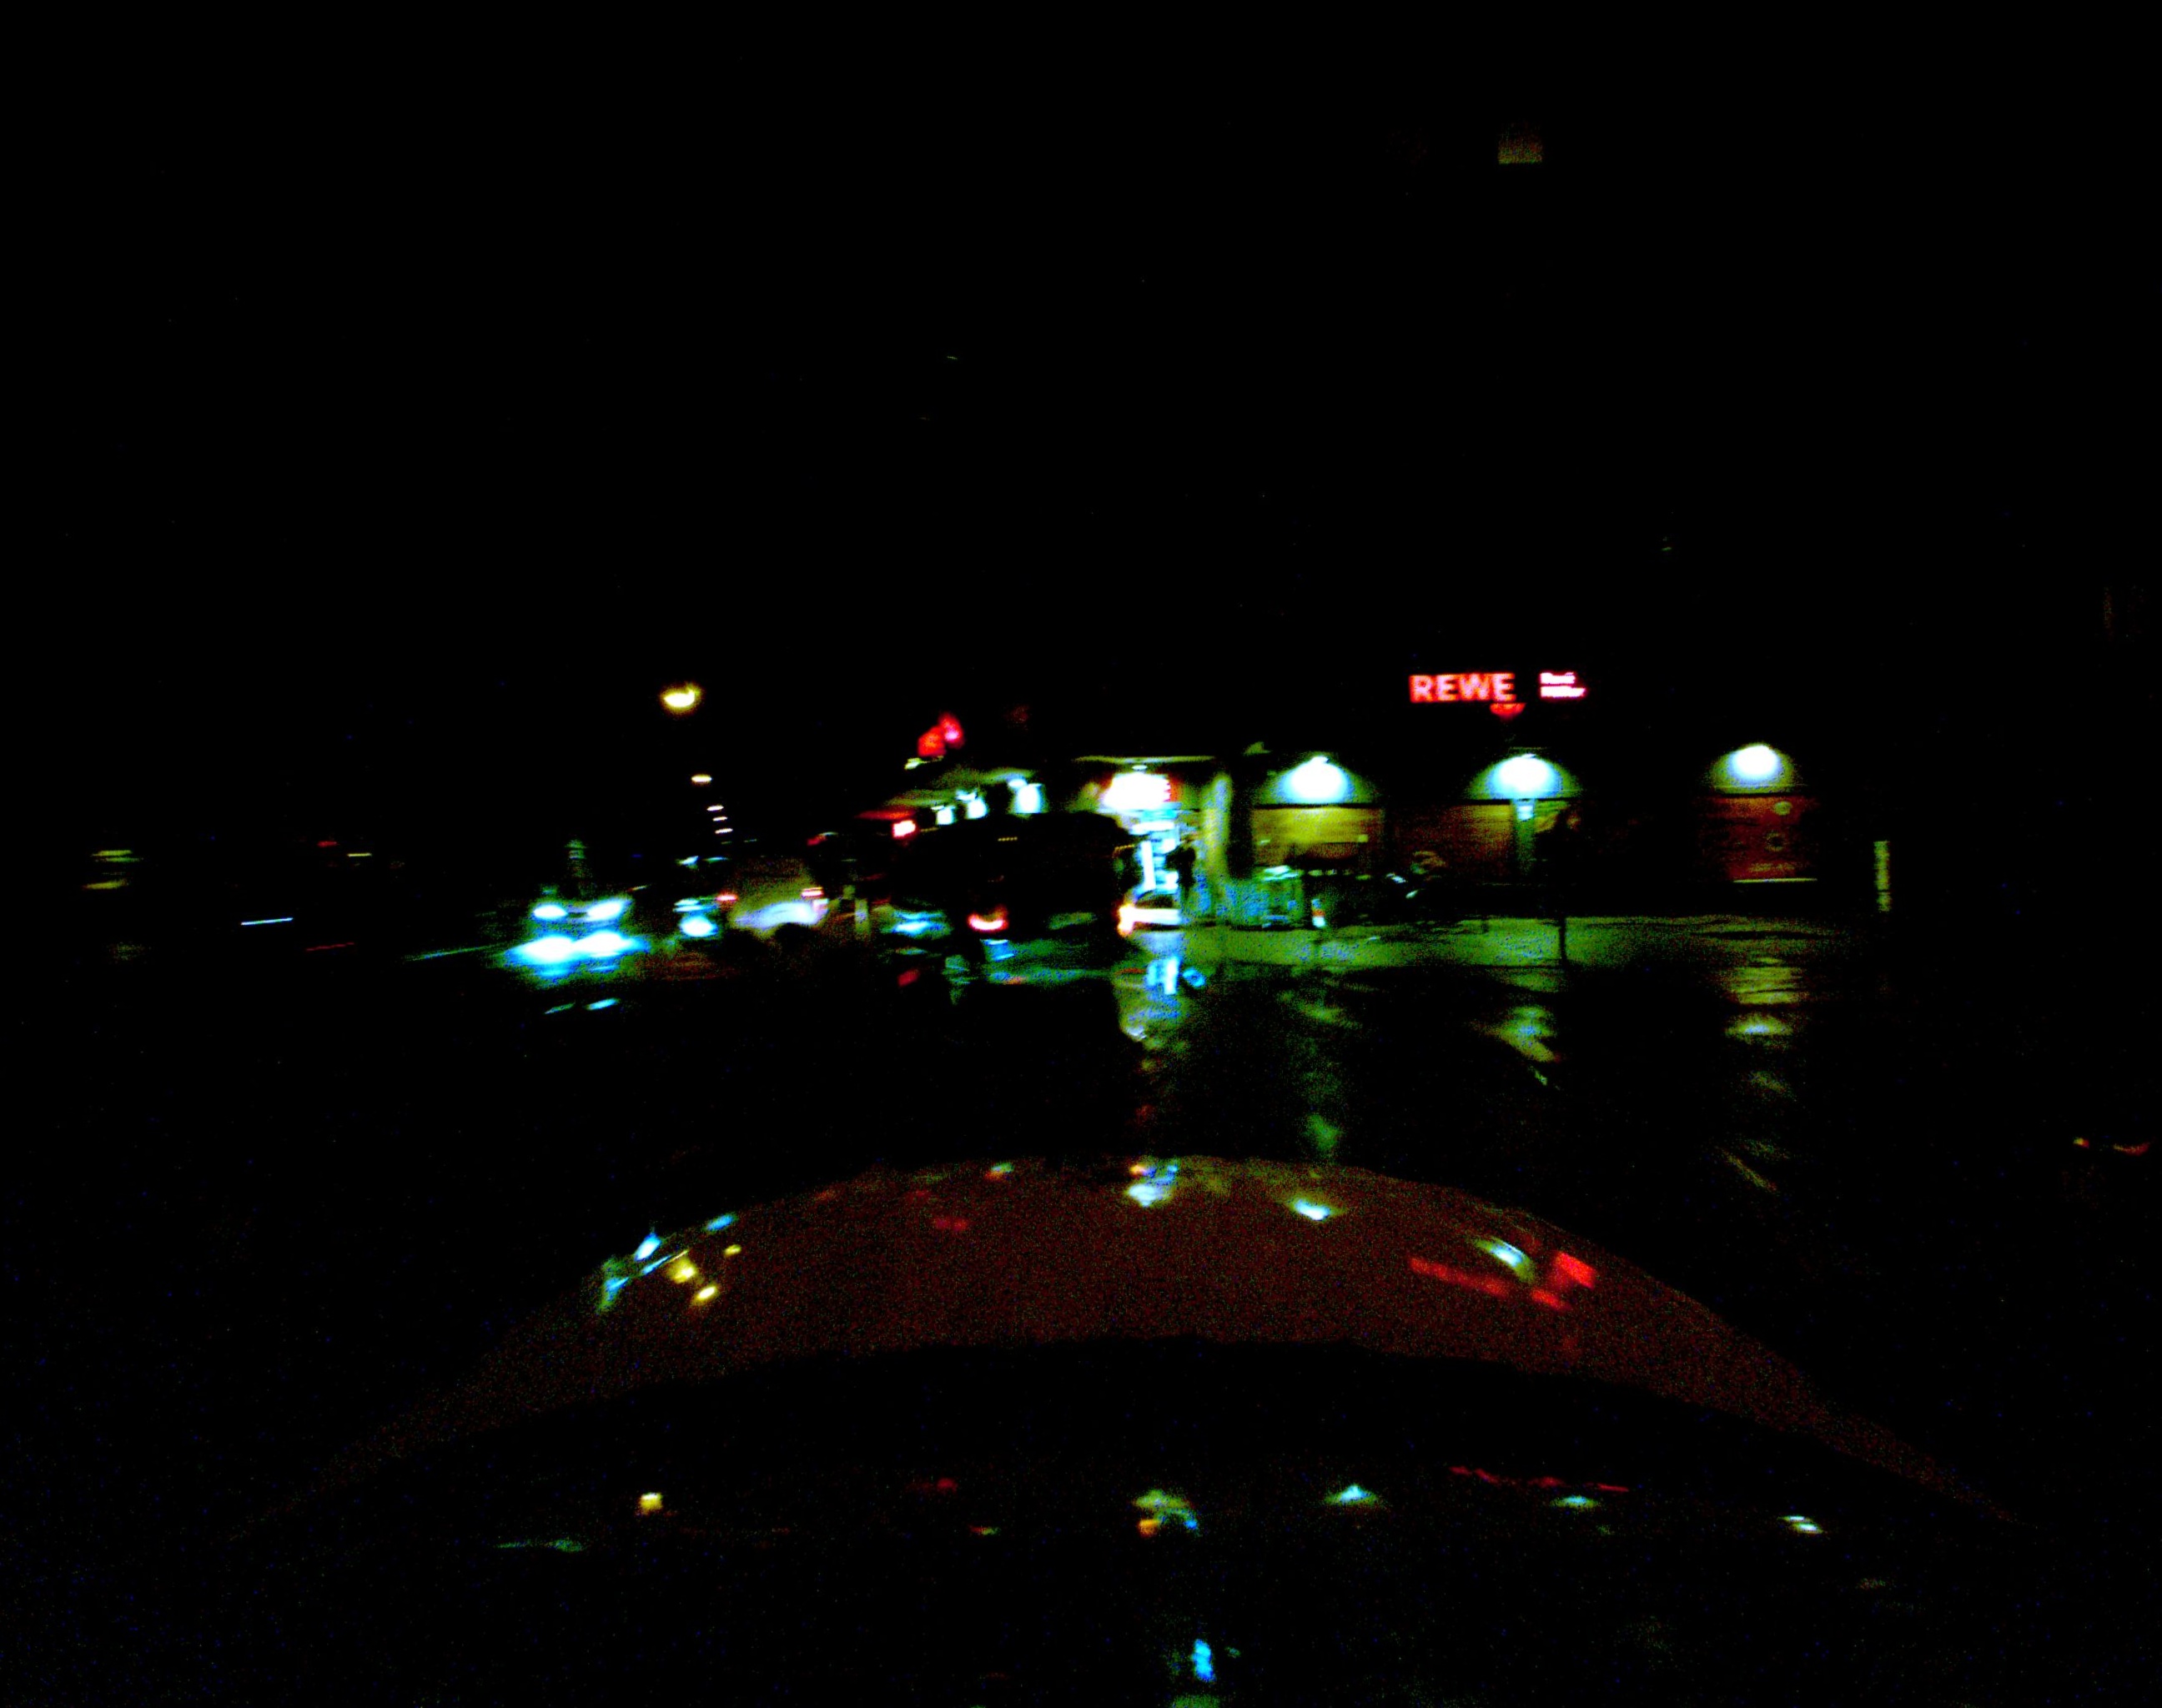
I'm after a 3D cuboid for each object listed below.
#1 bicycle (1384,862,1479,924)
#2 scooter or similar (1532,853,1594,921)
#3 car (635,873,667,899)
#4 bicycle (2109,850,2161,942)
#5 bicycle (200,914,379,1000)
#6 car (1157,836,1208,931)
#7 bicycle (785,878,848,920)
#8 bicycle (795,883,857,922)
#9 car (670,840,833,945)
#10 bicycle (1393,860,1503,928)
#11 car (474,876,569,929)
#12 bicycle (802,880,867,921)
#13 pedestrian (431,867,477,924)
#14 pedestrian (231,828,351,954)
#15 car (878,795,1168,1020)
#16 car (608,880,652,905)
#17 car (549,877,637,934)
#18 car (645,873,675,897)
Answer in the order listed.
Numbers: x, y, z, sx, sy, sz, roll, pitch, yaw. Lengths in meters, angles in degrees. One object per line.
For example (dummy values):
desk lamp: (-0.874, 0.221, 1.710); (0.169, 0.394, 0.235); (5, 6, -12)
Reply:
bicycle: (6.745, 0.747, 15.711); (1.634, 1.174, 0.384); (0, -3, 5)
scooter or similar: (9.113, 0.597, 15.427); (0.522, 1.229, 1.315); (0, 0, 7)
car: (-34.130, 2.507, 64.733); (2.003, 2.014, 3.967); (1, -2, -24)
bicycle: (14.628, 0.562, 11.030); (1.969, 1.177, 0.448); (1, -2, -27)
bicycle: (-11.996, 1.519, 12.412); (0.705, 1.059, 1.813); (-2, 0, 30)
car: (2.022, 0.576, 16.347); (0.871, 1.841, 0.964); (-1, 0, 0)
bicycle: (-8.347, 1.401, 25.693); (1.771, 1.124, 0.432); (-5, 1, -26)
bicycle: (-7.893, 1.488, 25.213); (1.771, 1.079, 0.432); (-1, 0, -26)
car: (-7.227, 0.744, 17.544); (2.139, 1.922, 4.772); (0, -1, -37)
bicycle: (6.630, 0.722, 14.761); (1.772, 1.174, 0.385); (-1, -1, 4)
car: (-17.327, 1.461, 25.395); (1.593, 1.464, 3.993); (2, -2, -23)
bicycle: (-7.367, 1.383, 24.355); (1.792, 1.125, 0.432); (-2, 0, -26)
pedestrian: (-19.836, 1.308, 25.789); (0.806, 1.766, 1.009); (1, -2, -17)
pedestrian: (-12.019, 0.535, 12.417); (0.705, 1.811, 1.132); (-2, 0, 30)
car: (-1.000, 0.502, 9.745); (2.131, 1.991, 4.566); (-1, -1, -22)
car: (-27.599, 2.320, 49.895); (2.003, 1.449, 3.967); (1, -2, -24)
car: (-14.397, 1.456, 24.202); (1.569, 1.427, 4.039); (-2, 0, -22)
car: (-36.186, 2.640, 70.053); (2.002, 2.014, 3.968); (1, -2, -24)
